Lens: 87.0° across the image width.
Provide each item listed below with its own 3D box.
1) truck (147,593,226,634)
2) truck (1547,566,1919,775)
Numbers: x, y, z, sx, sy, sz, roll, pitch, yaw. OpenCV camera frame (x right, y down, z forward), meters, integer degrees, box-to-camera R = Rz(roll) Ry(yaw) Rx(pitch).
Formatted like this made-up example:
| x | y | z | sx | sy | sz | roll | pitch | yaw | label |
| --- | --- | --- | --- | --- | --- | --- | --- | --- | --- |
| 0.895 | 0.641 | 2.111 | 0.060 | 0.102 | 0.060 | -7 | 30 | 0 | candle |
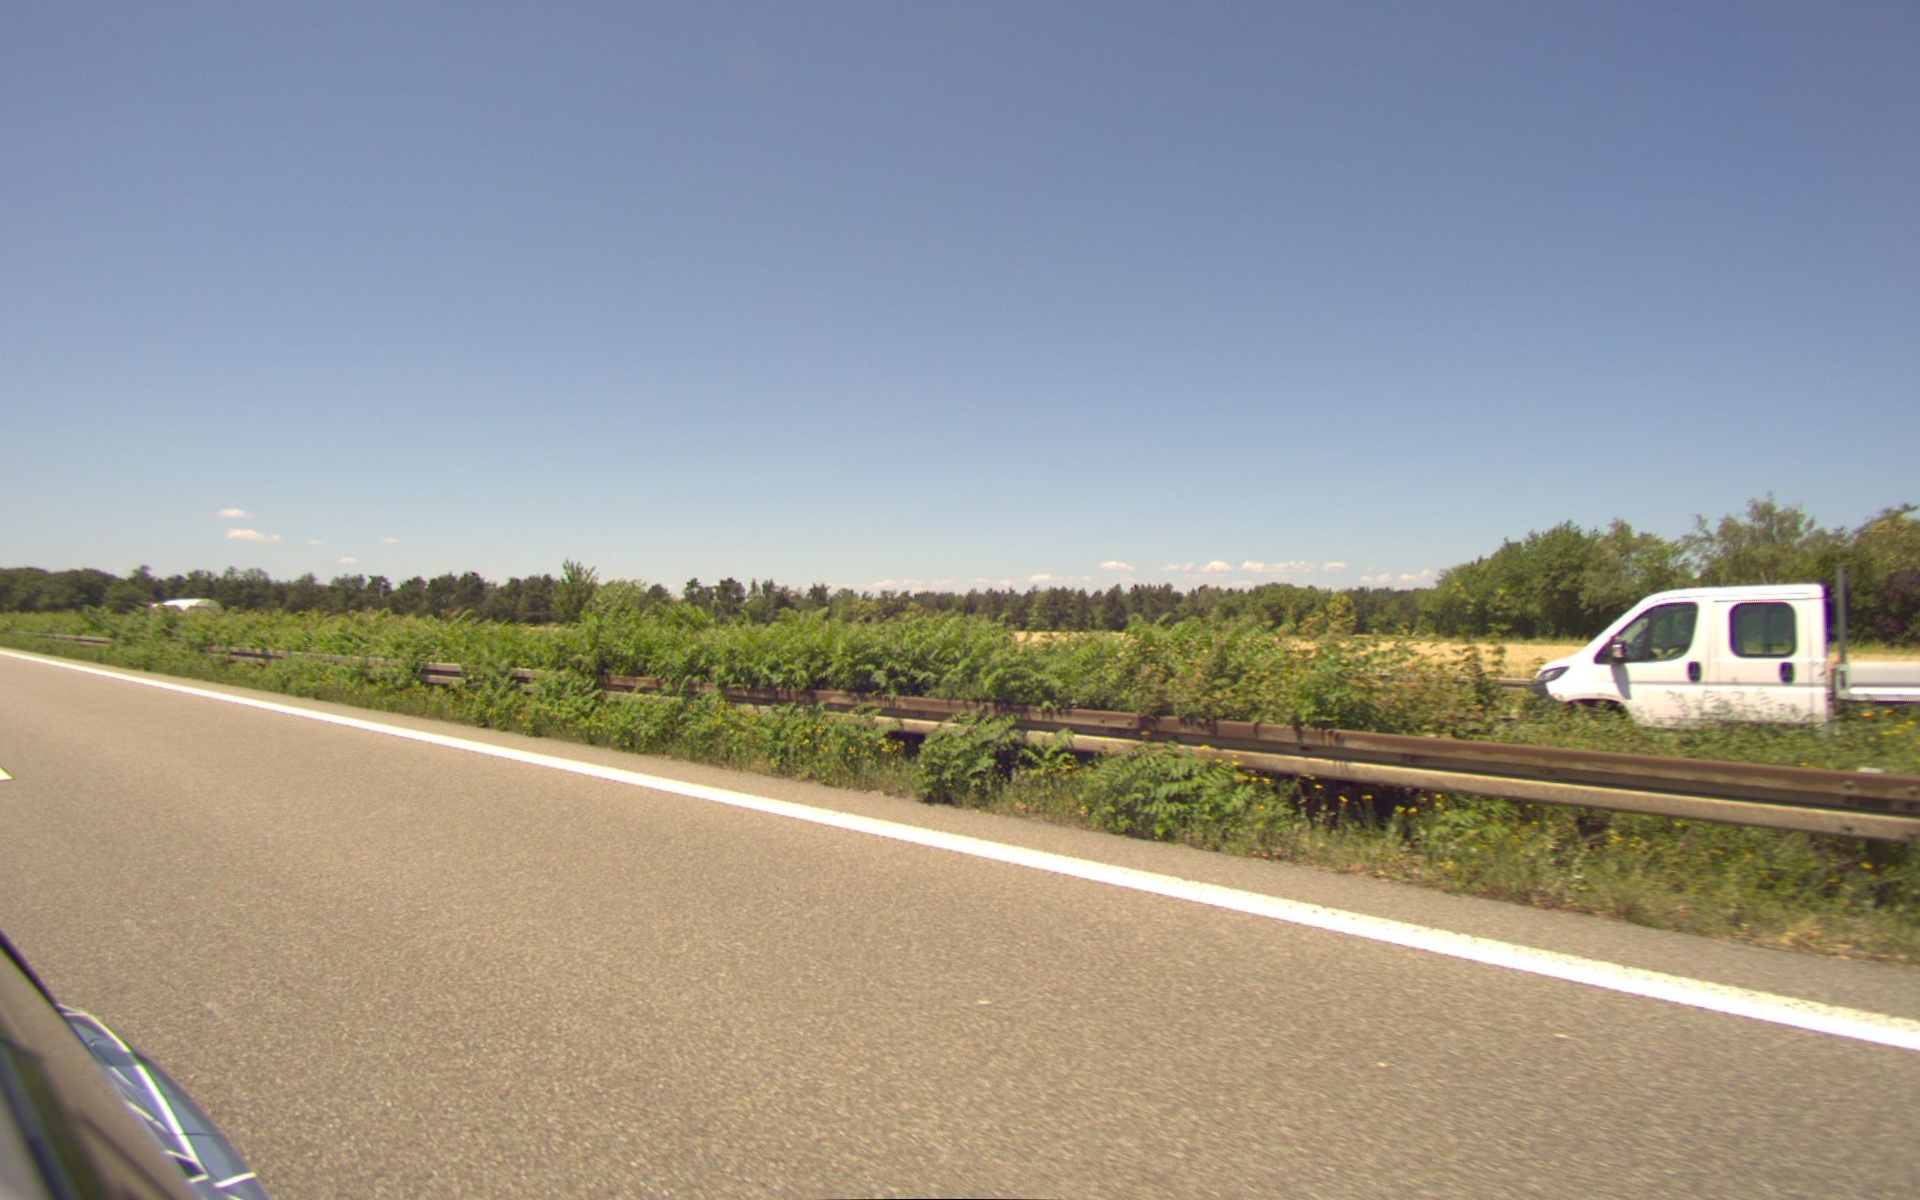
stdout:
| x | y | z | sx | sy | sz | roll | pitch | yaw | label |
| --- | --- | --- | --- | --- | --- | --- | --- | --- | --- |
| -63.311 | 1.095 | 82.656 | 13.115 | 3.147 | 2.542 | -1 | 0 | 41 | truck |
| 10.599 | 0.717 | 11.420 | 6.570 | 2.169 | 2.224 | -1 | 0 | 41 | truck |
